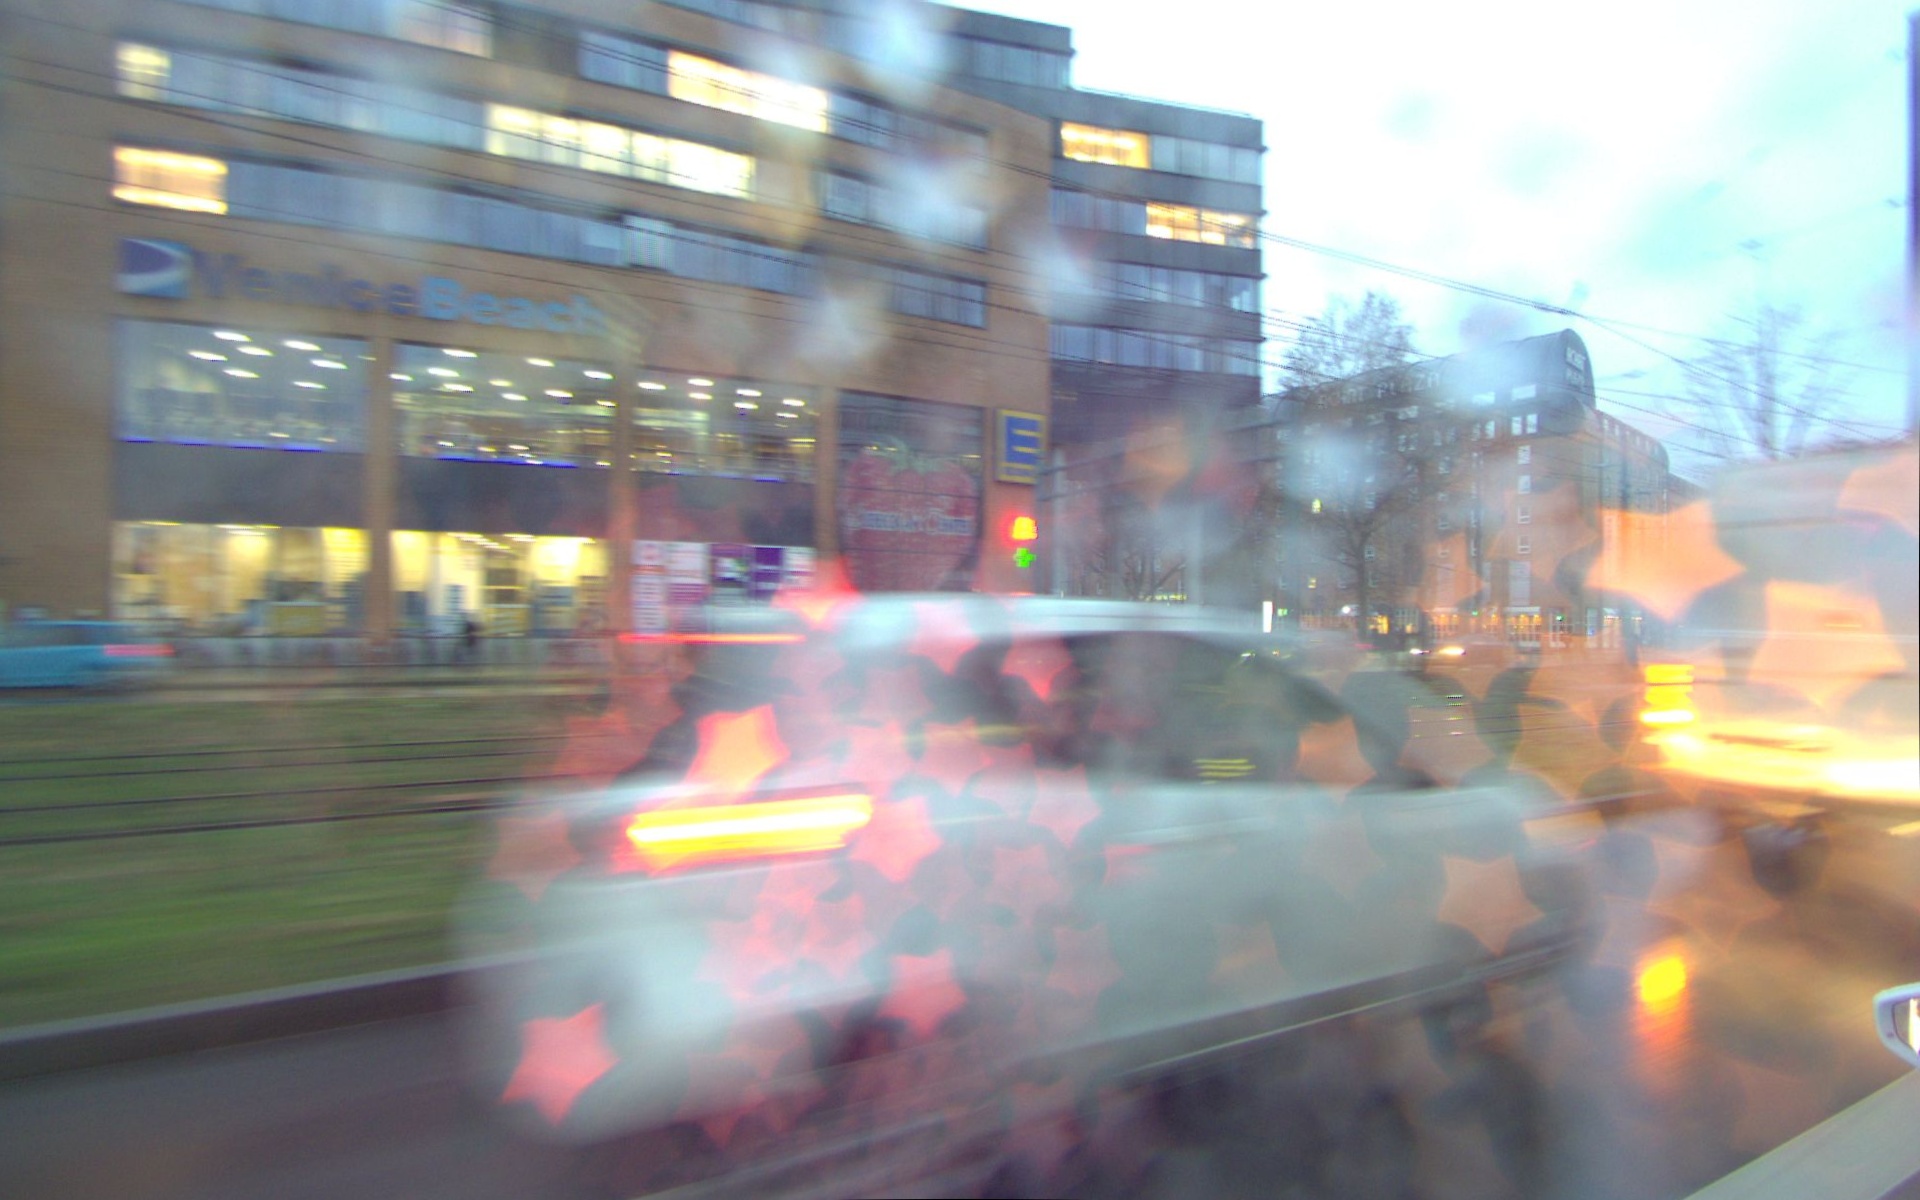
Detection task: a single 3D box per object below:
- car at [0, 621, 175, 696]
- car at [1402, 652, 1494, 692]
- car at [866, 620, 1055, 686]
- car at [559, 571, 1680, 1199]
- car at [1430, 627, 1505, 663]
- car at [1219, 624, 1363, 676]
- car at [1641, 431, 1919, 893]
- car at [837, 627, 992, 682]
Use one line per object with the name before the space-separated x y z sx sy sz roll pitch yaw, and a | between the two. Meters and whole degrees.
car | -18.171 1.149 20.203 3.506 1.420 1.500 1 -1 -29
car | 19.372 2.833 39.864 3.580 1.469 1.624 2 -1 -31
car | 0.032 1.219 23.571 4.150 1.411 1.721 2 -1 -31
car | 0.644 0.736 3.499 3.640 1.516 1.632 1 -1 -29
car | 24.876 2.195 49.204 3.580 1.714 1.624 2 -1 -31
car | 10.193 1.505 30.899 4.268 1.469 1.982 2 -1 -33
car | 7.338 0.400 7.324 5.914 2.459 1.981 2 -1 -35
car | -1.281 1.564 29.380 4.377 1.469 1.621 2 -1 -37
